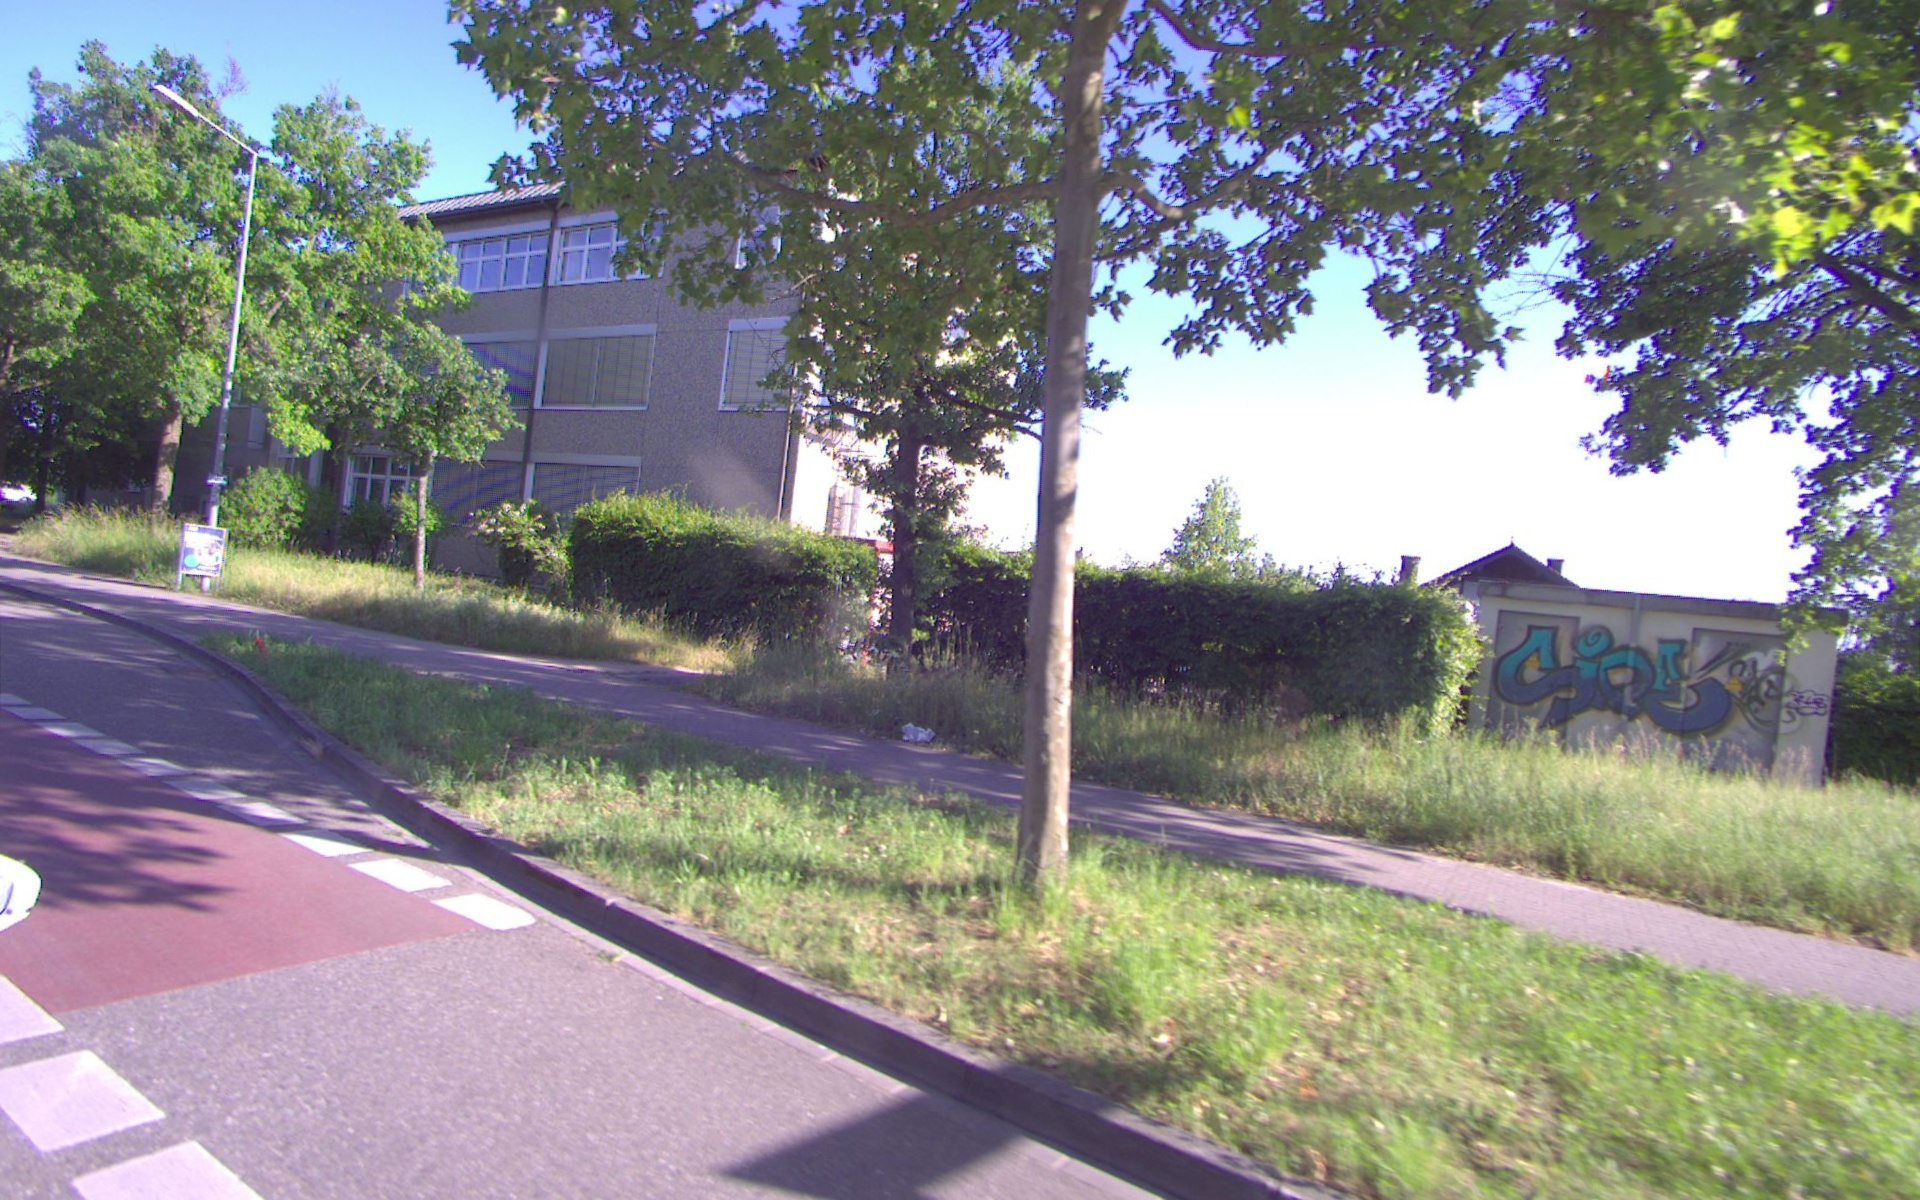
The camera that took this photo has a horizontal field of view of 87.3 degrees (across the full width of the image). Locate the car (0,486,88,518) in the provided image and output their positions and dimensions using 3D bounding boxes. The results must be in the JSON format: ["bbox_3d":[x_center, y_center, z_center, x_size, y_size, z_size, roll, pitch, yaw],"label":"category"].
[{"bbox_3d":[-67.210,-7.161,73.569,1.965,1.558,4.715,7,-1,26],"label":"car"}]
